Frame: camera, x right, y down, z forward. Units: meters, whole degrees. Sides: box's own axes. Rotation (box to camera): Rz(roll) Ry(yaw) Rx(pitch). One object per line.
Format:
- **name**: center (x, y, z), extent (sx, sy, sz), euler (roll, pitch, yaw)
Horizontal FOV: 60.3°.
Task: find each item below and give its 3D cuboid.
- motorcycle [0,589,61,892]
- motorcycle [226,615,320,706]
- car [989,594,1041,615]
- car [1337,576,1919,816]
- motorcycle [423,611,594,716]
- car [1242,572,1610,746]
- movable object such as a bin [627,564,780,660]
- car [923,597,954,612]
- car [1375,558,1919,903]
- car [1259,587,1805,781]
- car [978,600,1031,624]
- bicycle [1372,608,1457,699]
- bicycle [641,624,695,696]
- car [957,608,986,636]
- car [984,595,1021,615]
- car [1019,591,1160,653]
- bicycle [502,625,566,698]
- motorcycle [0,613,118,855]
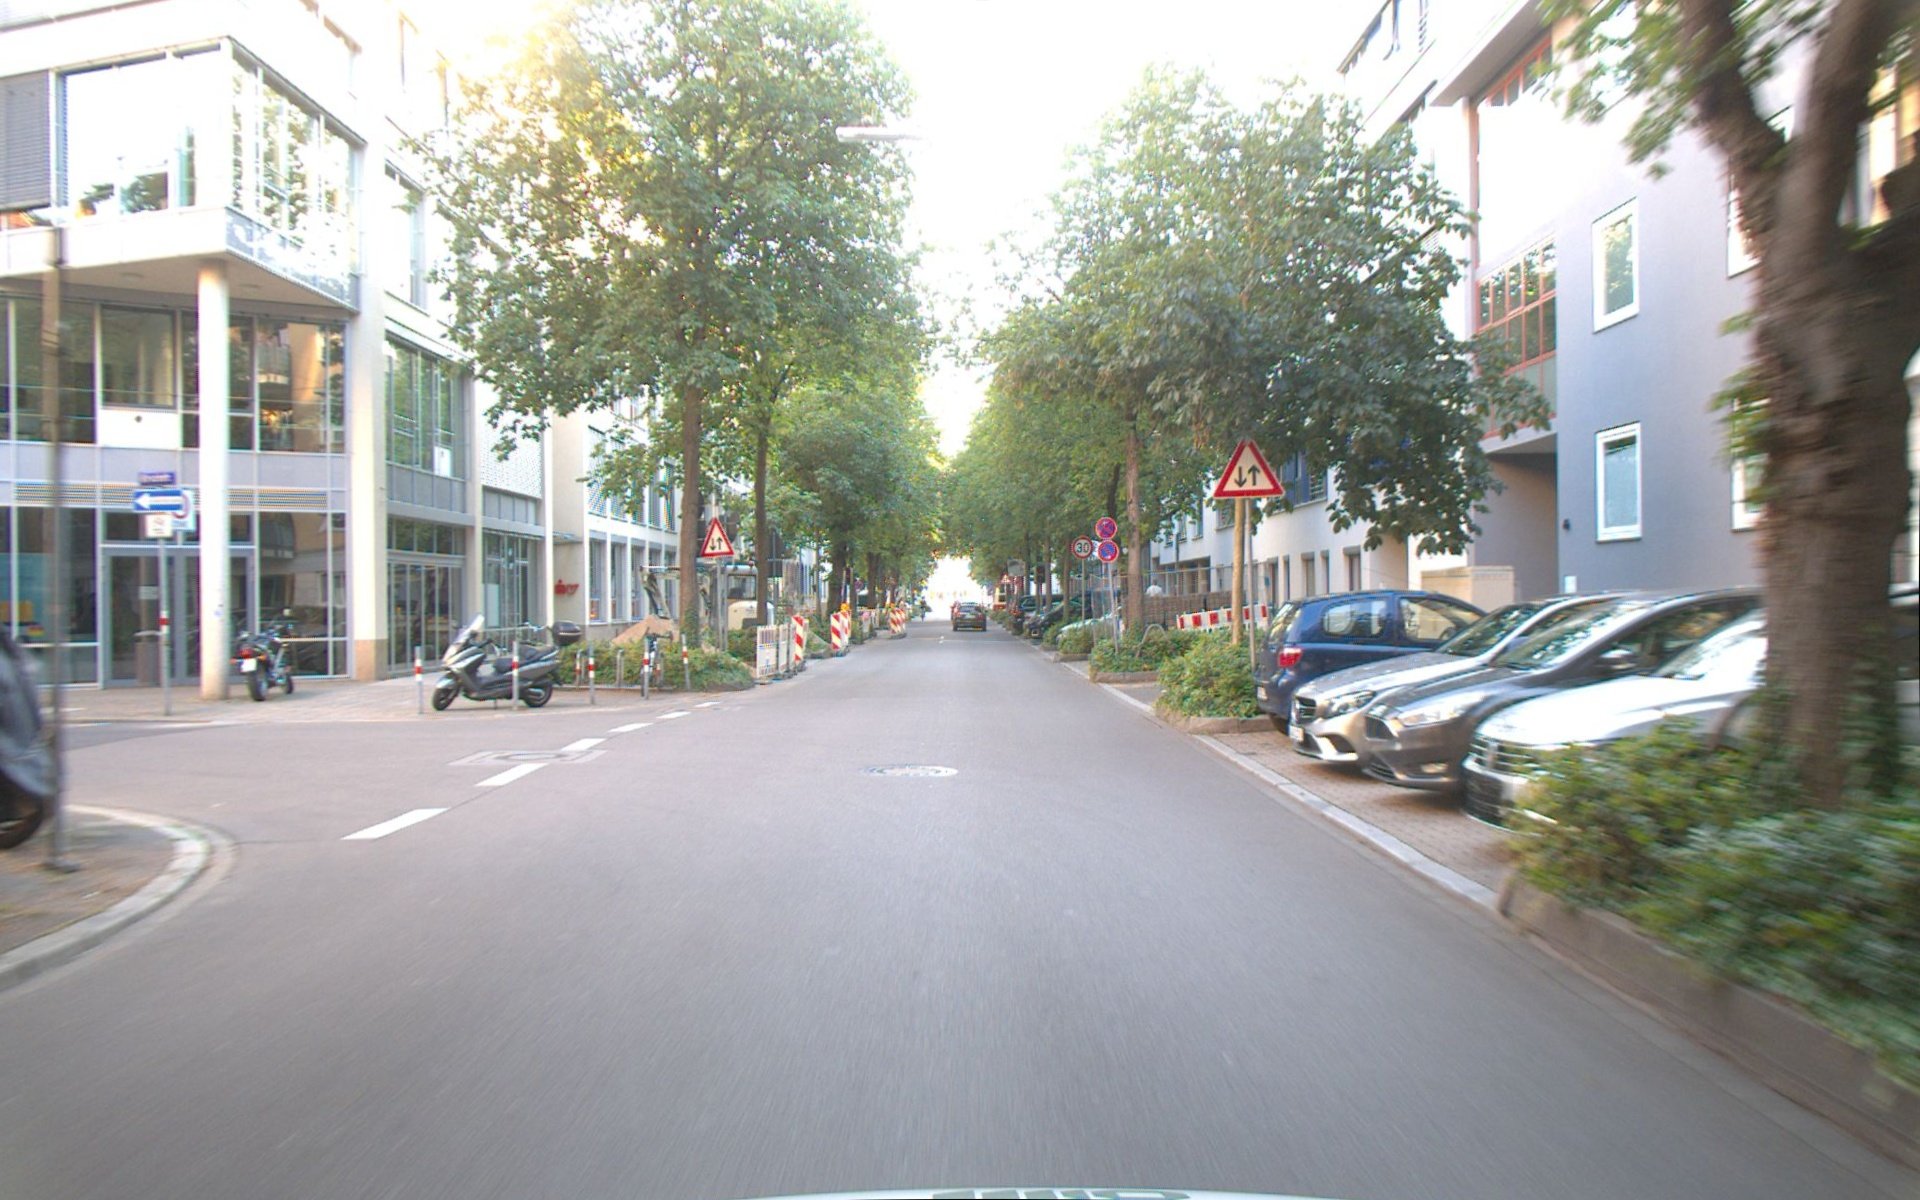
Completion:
- **motorcycle**: center (-5.897, 0.718, 8.498), extent (2.171, 1.520, 0.691), euler (-1, 0, 1)
- **motorcycle**: center (-10.717, 0.917, 25.884), extent (0.601, 1.296, 2.126), euler (-1, 1, -1)
- **car**: center (4.352, 0.353, 130.924), extent (3.908, 1.625, 1.999), euler (0, 0, -4)
- **car**: center (5.005, 0.649, 12.222), extent (3.985, 1.590, 1.853), euler (-1, 0, -2)
- **motorcycle**: center (-6.699, 0.909, 24.651), extent (2.357, 1.466, 0.790), euler (-1, 0, -41)
- **car**: center (4.743, 0.578, 17.176), extent (3.282, 1.552, 1.746), euler (-3, 0, 0)
- **movable object such as a bin**: center (-6.599, 0.304, 42.989), extent (3.591, 2.373, 2.582), euler (-1, 0, -2)
- **car**: center (-2.824, 0.558, 216.465), extent (3.912, 1.948, 1.774), euler (-1, 0, -8)
- **car**: center (4.954, 0.650, 9.428), extent (4.699, 1.734, 1.835), euler (-1, 0, -2)
- **car**: center (4.967, 0.680, 14.664), extent (4.200, 1.534, 1.868), euler (-1, 0, -9)
- **car**: center (4.101, 1.063, 152.784), extent (4.870, 2.124, 1.738), euler (-1, 0, 0)
- **bicycle**: center (6.466, 0.745, 23.599), extent (0.711, 1.192, 1.500), euler (-5, 0, 1)
- **bicycle**: center (-5.005, 1.007, 28.440), extent (0.589, 1.137, 1.800), euler (-1, 1, 0)
- **car**: center (0.594, 1.138, 87.175), extent (1.470, 1.441, 3.713), euler (-1, 0, 0)
- **car**: center (4.476, 0.504, 174.973), extent (3.904, 2.049, 2.000), euler (-1, 0, 1)
- **car**: center (4.596, 0.774, 59.225), extent (4.870, 2.124, 1.738), euler (-1, 0, 0)
- **bicycle**: center (-7.167, 1.013, 27.885), extent (0.589, 1.137, 1.800), euler (-1, 1, 0)
- **motorcycle**: center (-6.326, 0.792, 10.473), extent (2.176, 1.398, 0.722), euler (-1, 0, 31)
